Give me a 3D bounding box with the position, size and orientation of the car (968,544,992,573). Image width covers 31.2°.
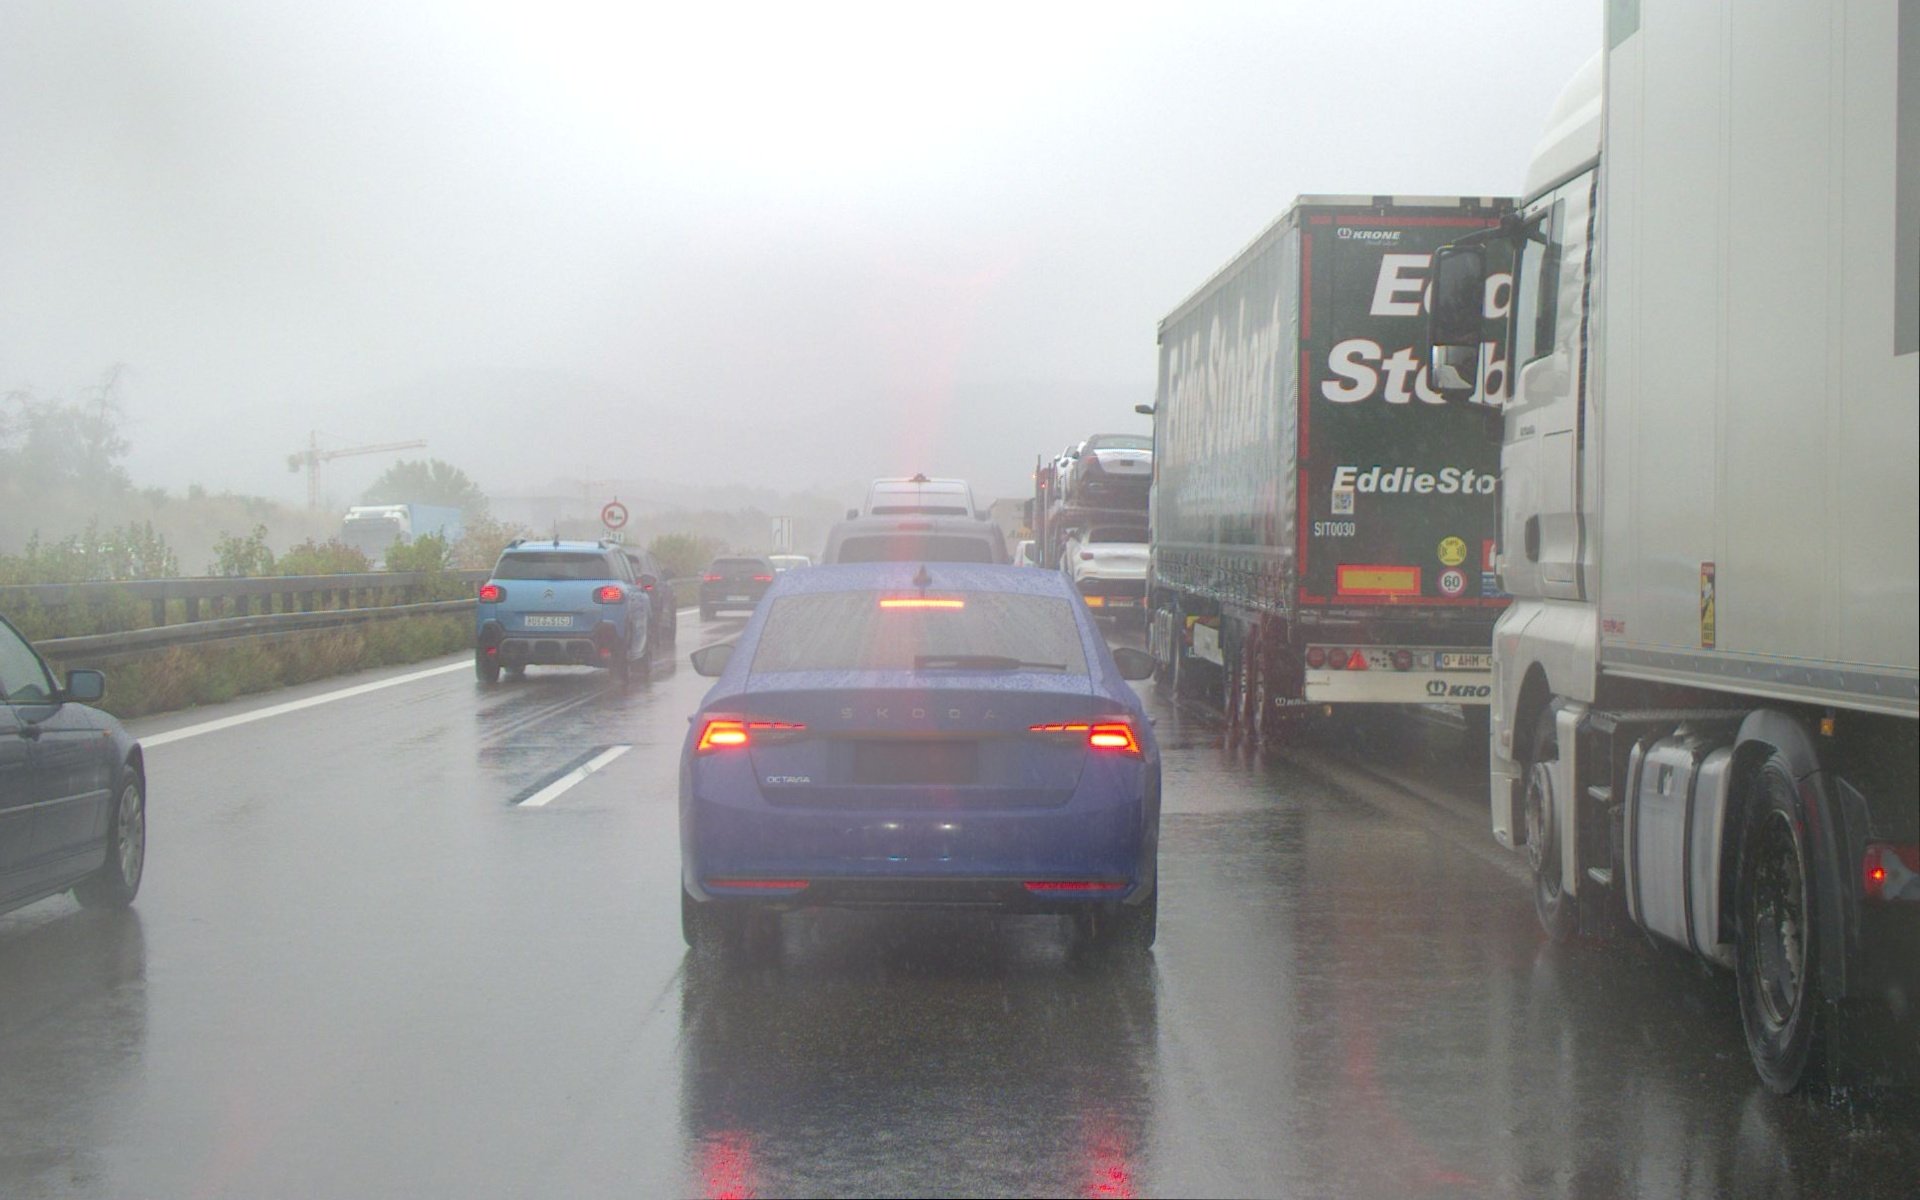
[{"bbox_3d":[1.255,-2.605,215.055,1.448,1.777,3.409,1,1,0],"label":"car"}]

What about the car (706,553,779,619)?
[{"bbox_3d":[-4.884,-0.338,77.517,1.439,1.415,3.322,0,1,0],"label":"car"}]

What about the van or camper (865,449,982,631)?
[{"bbox_3d":[-0.579,-0.978,55.499,1.797,2.797,4.768,0,1,0],"label":"van or camper"}]

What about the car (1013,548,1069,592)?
[{"bbox_3d":[2.522,-0.959,108.081,1.638,1.323,3.367,0,2,-1],"label":"car"}]

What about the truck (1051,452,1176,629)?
[{"bbox_3d":[3.083,-1.267,70.656,1.993,3.410,8.033,0,2,-2],"label":"truck"}]

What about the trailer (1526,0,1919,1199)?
[{"bbox_3d":[3.455,-0.604,5.378,2.630,3.999,14.630,0,1,0],"label":"trailer"}]

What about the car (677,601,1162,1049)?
[{"bbox_3d":[-0.123,0.760,13.611,1.635,1.440,4.000,0,1,0],"label":"car"}]

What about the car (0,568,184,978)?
[{"bbox_3d":[-4.176,0.599,12.483,1.718,1.395,4.230,0,1,1],"label":"car"}]

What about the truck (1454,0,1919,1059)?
[{"bbox_3d":[3.411,-0.667,12.037,2.630,3.814,4.791,0,1,0],"label":"truck"}]

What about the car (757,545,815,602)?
[{"bbox_3d":[-4.800,-0.742,94.918,1.439,1.528,3.322,0,1,0],"label":"car"}]

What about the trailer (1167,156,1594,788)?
[{"bbox_3d":[3.115,-0.968,28.410,2.047,4.162,11.449,0,1,0],"label":"trailer"}]

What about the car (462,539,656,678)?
[{"bbox_3d":[-4.570,0.059,39.652,1.722,1.518,4.000,0,1,1],"label":"car"}]

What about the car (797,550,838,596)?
[{"bbox_3d":[-5.634,-1.070,136.205,1.448,1.777,3.409,1,1,0],"label":"car"}]

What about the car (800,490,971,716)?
[{"bbox_3d":[-0.595,-0.013,28.603,1.336,1.773,3.322,0,1,0],"label":"car"}]

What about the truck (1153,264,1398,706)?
[{"bbox_3d":[3.102,-1.134,34.586,2.047,4.178,4.000,0,1,0],"label":"truck"}]

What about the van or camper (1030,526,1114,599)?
[{"bbox_3d":[2.588,-0.898,80.378,1.771,1.619,4.484,0,2,-1],"label":"van or camper"}]

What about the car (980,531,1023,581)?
[{"bbox_3d":[1.490,-1.582,124.050,1.448,1.777,3.409,1,1,0],"label":"car"}]
